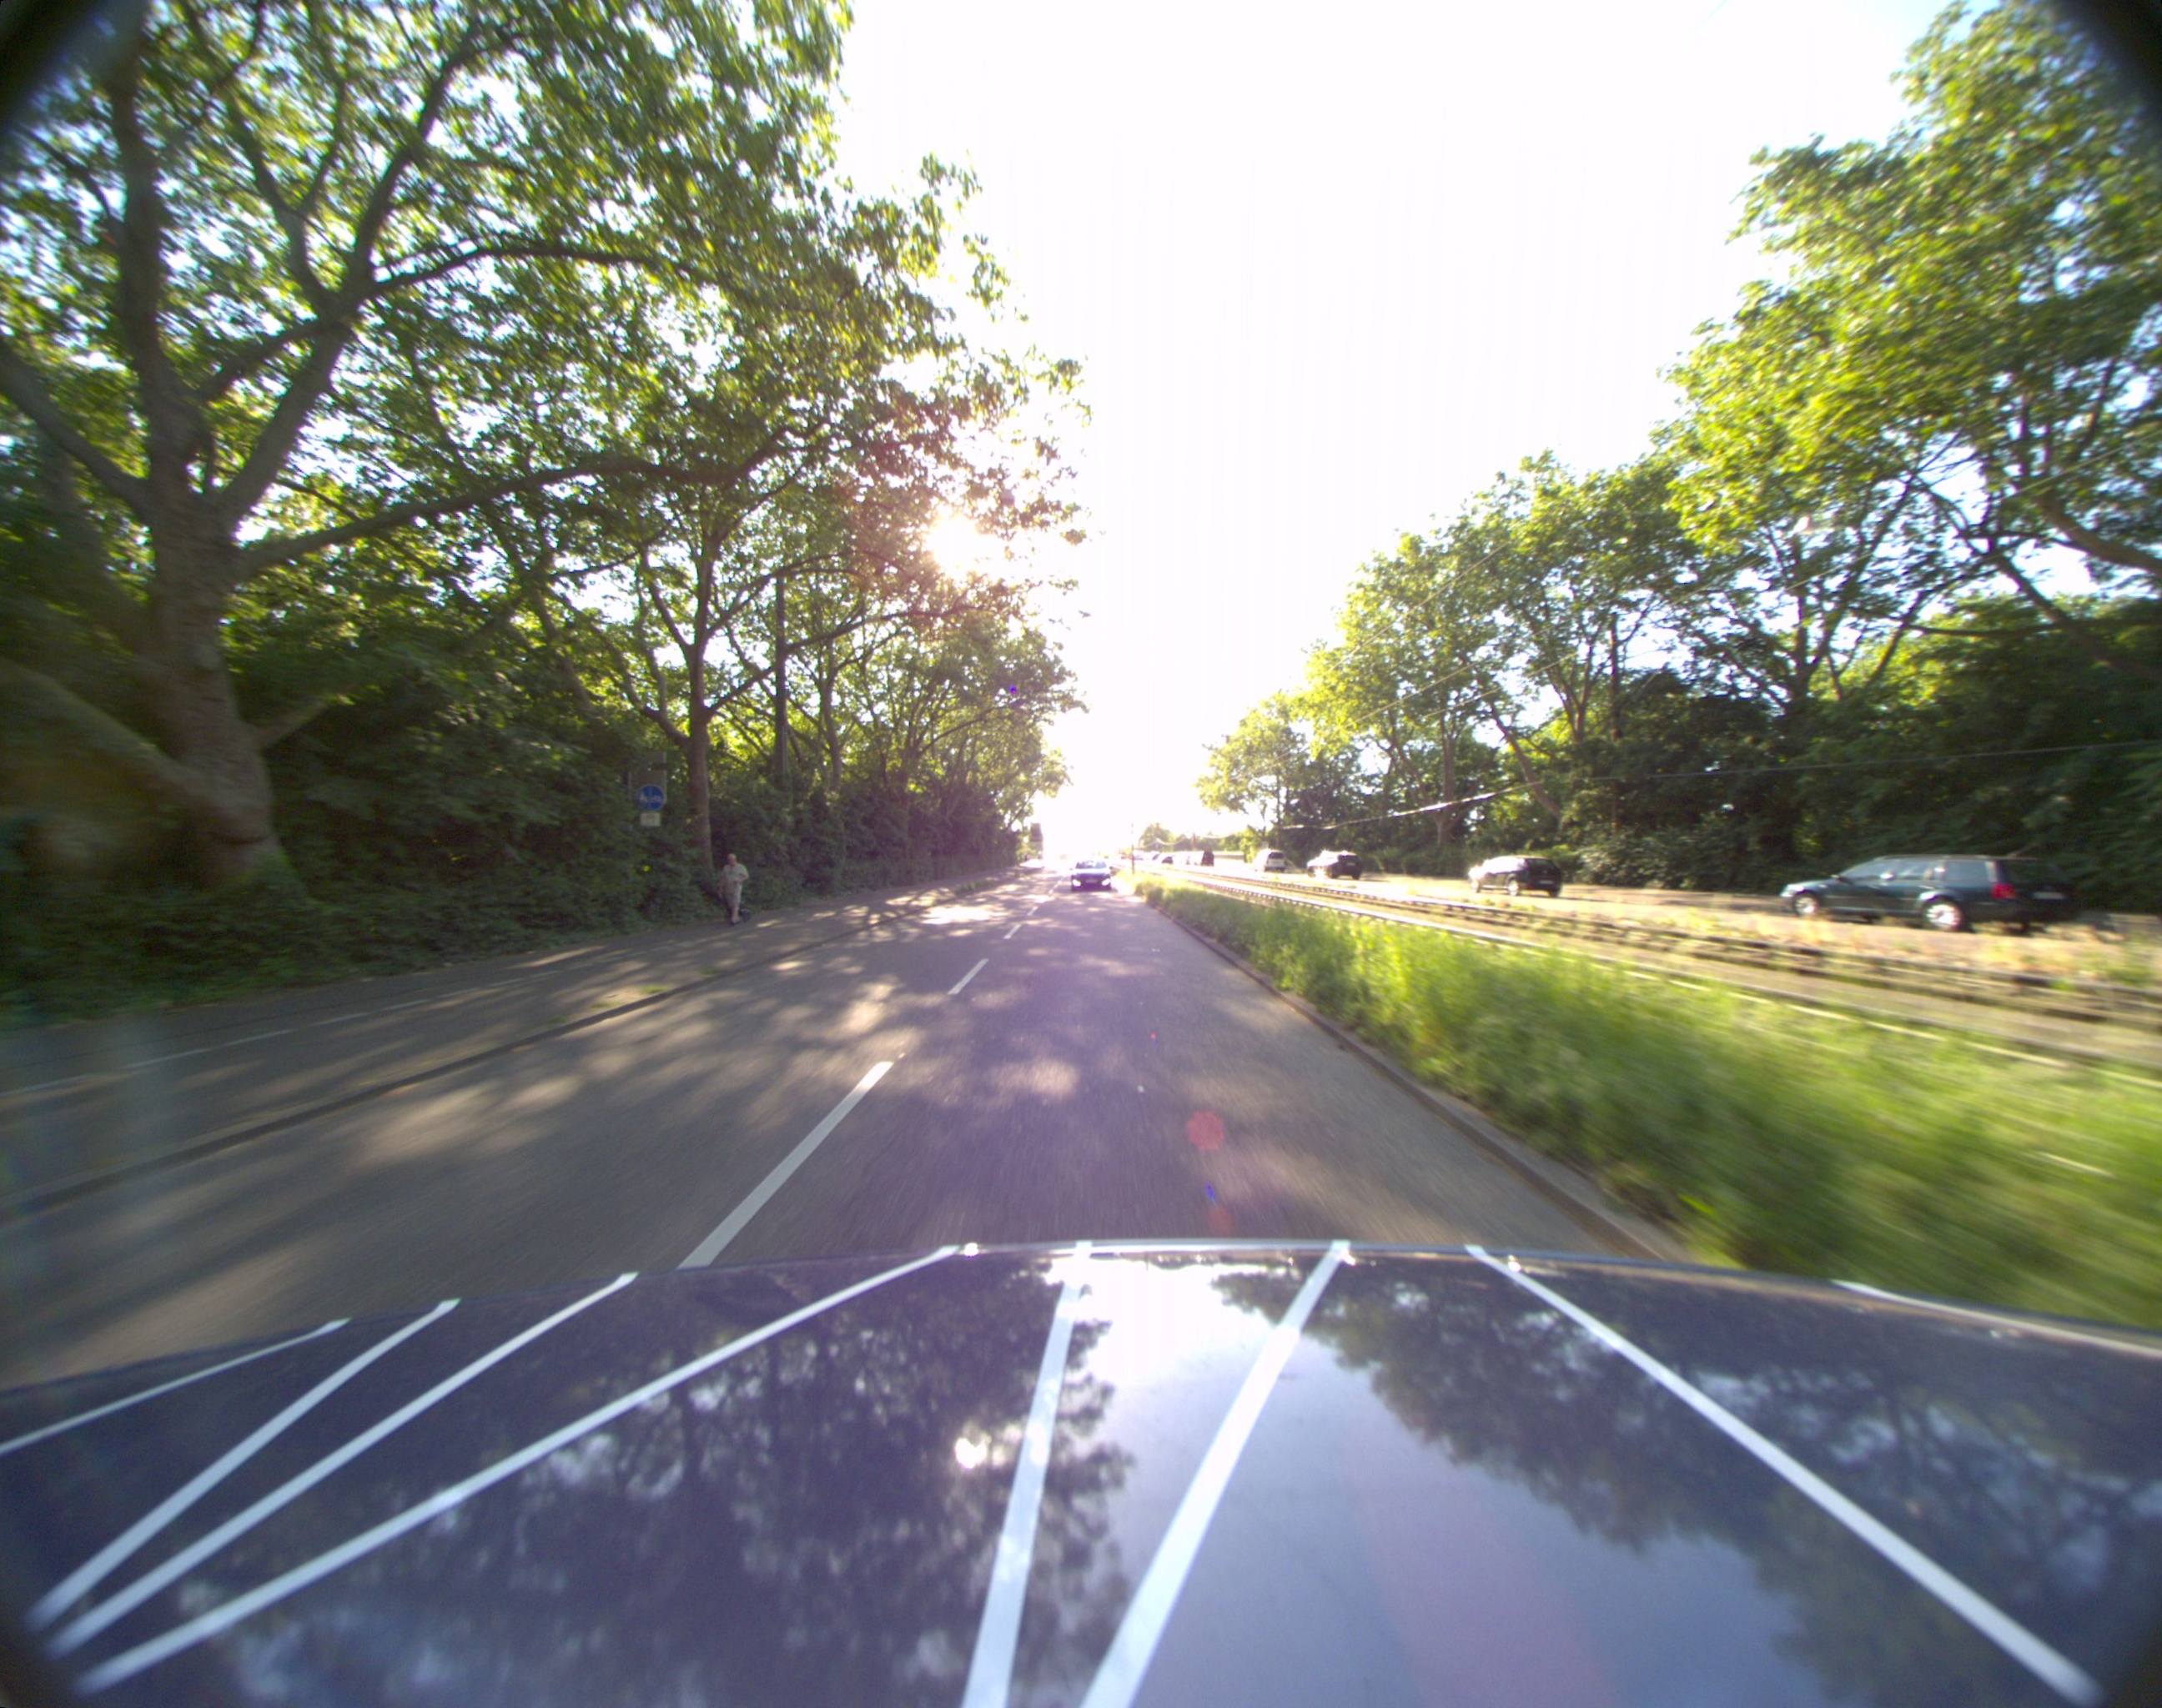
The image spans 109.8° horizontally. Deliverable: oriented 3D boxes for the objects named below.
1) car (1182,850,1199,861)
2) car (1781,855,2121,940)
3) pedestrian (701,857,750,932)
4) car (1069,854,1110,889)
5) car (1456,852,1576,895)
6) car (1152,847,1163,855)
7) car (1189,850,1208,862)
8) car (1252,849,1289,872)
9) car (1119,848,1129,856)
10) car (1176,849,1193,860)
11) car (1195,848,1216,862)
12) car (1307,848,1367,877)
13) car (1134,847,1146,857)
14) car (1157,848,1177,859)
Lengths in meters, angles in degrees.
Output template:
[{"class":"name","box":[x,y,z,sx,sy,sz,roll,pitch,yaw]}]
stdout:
[{"class":"car","box":[14.765,0.180,102.673,1.658,1.434,3.784,0,1,-2]},{"class":"car","box":[17.208,0.763,15.438,1.832,1.428,4.322,0,1,-3]},{"class":"pedestrian","box":[-8.093,0.903,17.339,0.649,1.626,0.927,1,1,0]},{"class":"car","box":[0.339,0.771,36.253,1.799,1.501,3.999,-2,0,-1]},{"class":"car","box":[16.361,0.682,28.876,1.832,1.496,4.393,0,1,-3]},{"class":"car","box":[14.452,-0.581,144.393,1.658,1.491,3.924,0,1,-1]},{"class":"car","box":[15.015,0.210,97.190,1.659,1.434,3.784,0,1,-3]},{"class":"car","box":[15.784,0.513,63.557,1.832,1.830,4.393,0,1,-3]},{"class":"car","box":[10.498,-0.438,186.881,1.988,1.841,4.961,0,1,-1]},{"class":"car","box":[14.706,0.082,107.968,1.659,1.491,3.923,0,1,-3]},{"class":"car","box":[14.984,0.097,91.693,1.735,1.730,3.898,0,1,-3]},{"class":"car","box":[15.931,0.511,47.569,1.833,1.709,4.391,0,1,-7]},{"class":"car","box":[10.929,-0.353,140.939,1.832,1.841,5.035,0,1,-1]},{"class":"car","box":[11.674,-0.111,103.194,1.925,1.407,4.748,1,1,-2]}]
